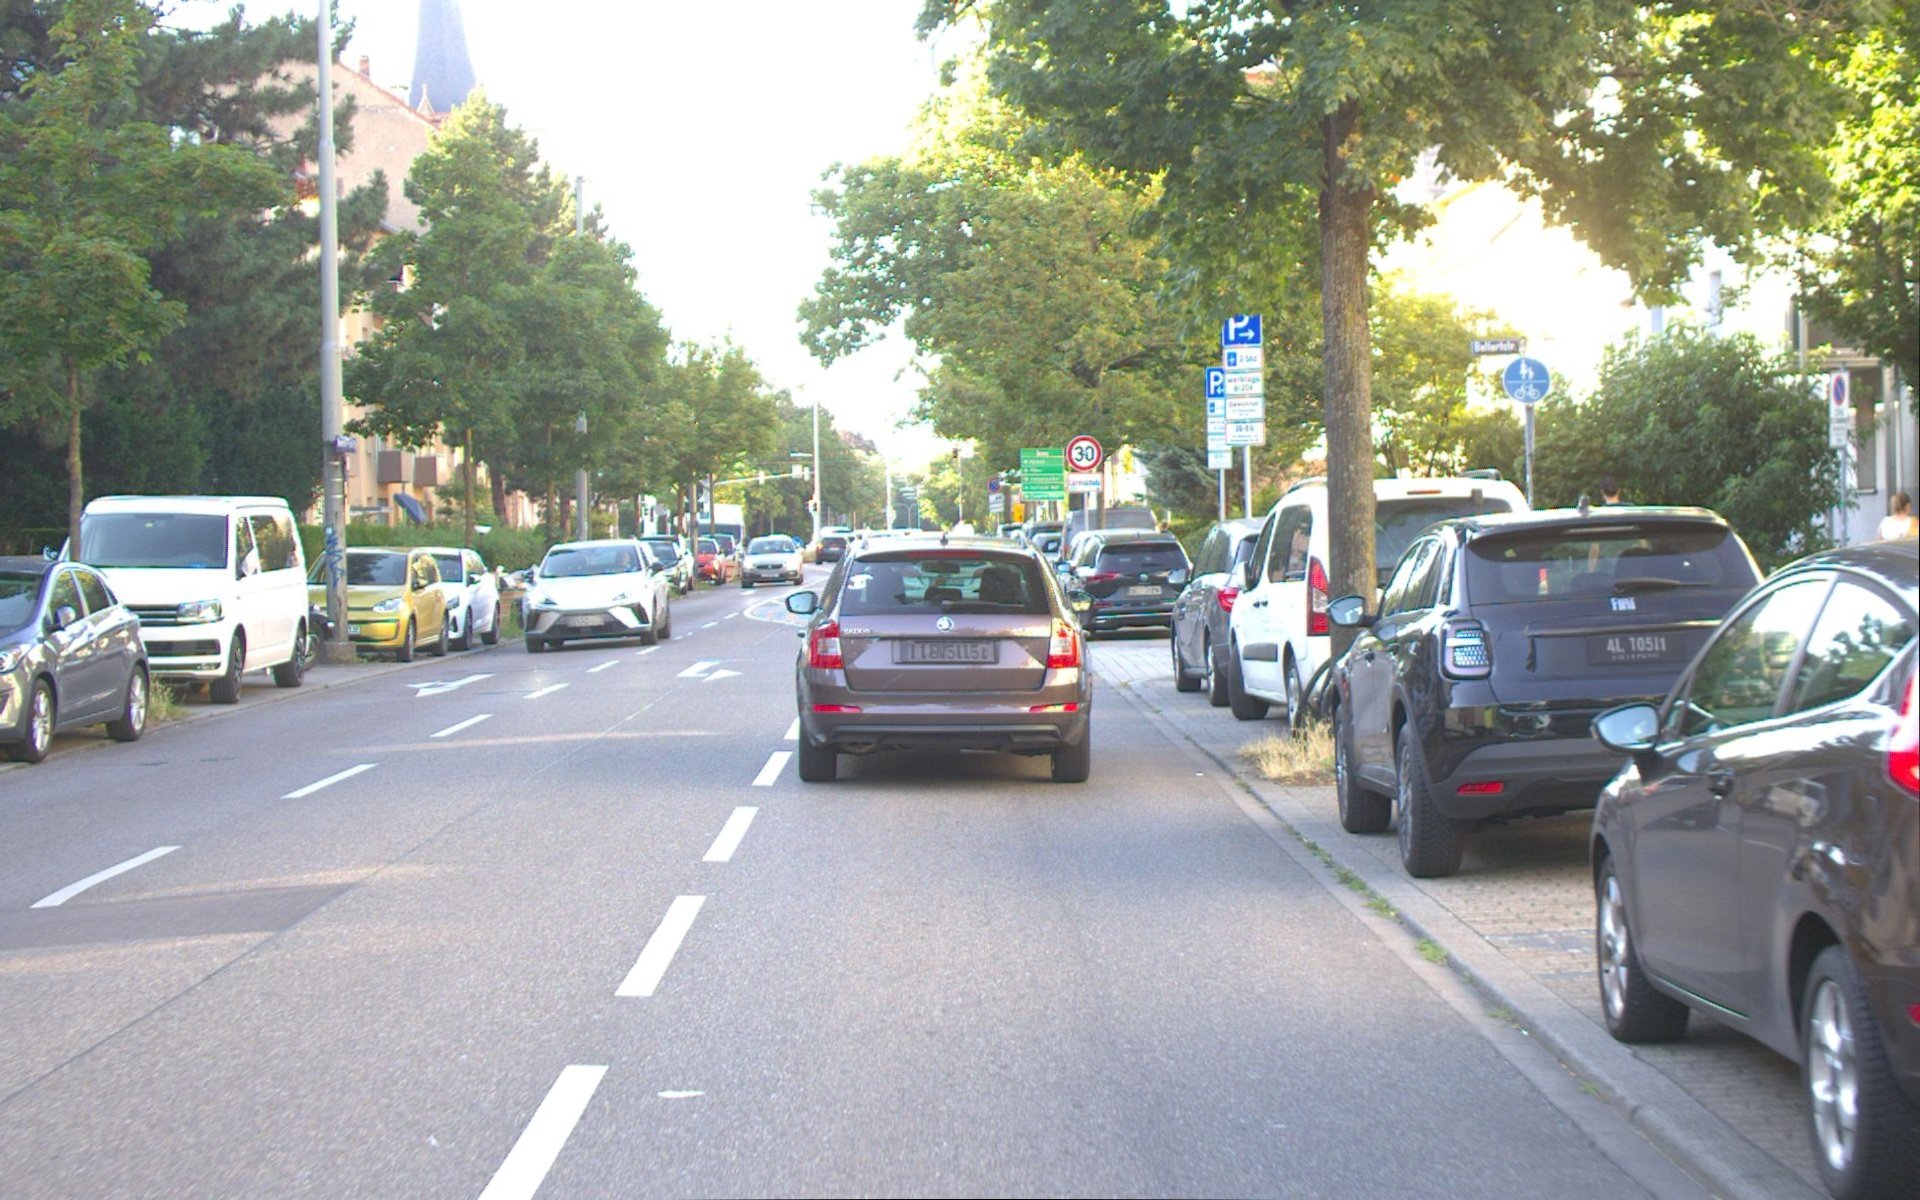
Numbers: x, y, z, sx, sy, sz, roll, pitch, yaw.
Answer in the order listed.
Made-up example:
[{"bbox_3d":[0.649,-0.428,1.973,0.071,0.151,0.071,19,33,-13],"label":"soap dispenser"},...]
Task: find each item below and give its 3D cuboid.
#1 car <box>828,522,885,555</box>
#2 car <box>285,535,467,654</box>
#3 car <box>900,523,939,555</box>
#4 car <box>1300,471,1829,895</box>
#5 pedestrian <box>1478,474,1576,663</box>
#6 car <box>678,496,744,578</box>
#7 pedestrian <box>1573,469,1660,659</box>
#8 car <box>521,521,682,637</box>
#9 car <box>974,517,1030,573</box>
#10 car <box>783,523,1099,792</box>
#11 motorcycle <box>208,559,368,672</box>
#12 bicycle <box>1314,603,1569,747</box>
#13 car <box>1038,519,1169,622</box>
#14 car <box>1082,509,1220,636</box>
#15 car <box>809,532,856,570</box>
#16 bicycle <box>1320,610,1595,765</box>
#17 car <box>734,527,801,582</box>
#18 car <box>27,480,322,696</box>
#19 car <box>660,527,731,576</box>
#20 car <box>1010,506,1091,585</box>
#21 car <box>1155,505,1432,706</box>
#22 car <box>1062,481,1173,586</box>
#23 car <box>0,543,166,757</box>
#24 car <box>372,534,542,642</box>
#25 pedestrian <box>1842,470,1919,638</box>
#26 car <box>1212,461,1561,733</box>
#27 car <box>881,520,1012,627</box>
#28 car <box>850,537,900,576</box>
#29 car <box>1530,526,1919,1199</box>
[{"bbox_3d":[-5.658,-3.353,187.761,1.993,1.744,4.001,-1,1,-18],"label":"car"},{"bbox_3d":[-7.668,-0.109,45.406,1.619,1.475,3.871,1,1,2],"label":"car"},{"bbox_3d":[-2.075,-3.110,174.173,1.644,1.593,3.651,-1,1,-6],"label":"car"},{"bbox_3d":[2.648,0.289,16.001,1.754,1.657,4.252,-2,1,1],"label":"car"},{"bbox_3d":[5.703,-0.320,34.624,0.749,1.854,1.068,-2,1,-1],"label":"pedestrian"},{"bbox_3d":[-8.642,-2.200,119.600,1.991,2.771,5.504,1,1,-1],"label":"car"},{"bbox_3d":[6.551,-0.365,34.314,0.799,1.854,0.950,-1,1,11],"label":"pedestrian"},{"bbox_3d":[-5.040,-0.336,48.781,1.781,1.489,3.971,-3,1,0],"label":"car"},{"bbox_3d":[1.358,-1.812,112.777,1.754,1.799,4.000,1,1,0],"label":"car"},{"bbox_3d":[-0.063,0.278,21.246,1.754,1.487,4.000,1,1,1],"label":"car"},{"bbox_3d":[-7.774,0.162,39.872,0.659,1.200,2.330,-1,2,21],"label":"motorcycle"},{"bbox_3d":[3.082,0.476,22.021,1.552,0.866,0.393,-1,1,-9],"label":"bicycle"},{"bbox_3d":[2.225,-0.487,54.151,1.754,1.551,4.105,1,1,-2],"label":"car"},{"bbox_3d":[2.623,-0.414,47.952,1.754,1.680,4.252,1,1,1],"label":"car"},{"bbox_3d":[-6.084,-2.353,163.850,1.993,1.744,4.001,-1,1,-6],"label":"car"},{"bbox_3d":[2.950,0.514,20.426,1.552,0.866,0.393,-1,1,-3],"label":"bicycle"},{"bbox_3d":[-5.734,-1.389,102.968,1.739,1.474,4.310,-4,1,-1],"label":"car"},{"bbox_3d":[-7.861,-0.176,34.920,1.868,2.024,5.301,0,1,-1],"label":"car"},{"bbox_3d":[-8.209,-1.521,107.044,1.781,1.475,3.971,1,1,2],"label":"car"},{"bbox_3d":[2.026,-1.229,77.008,1.754,1.709,4.000,1,1,1],"label":"car"},{"bbox_3d":[2.819,-0.007,29.940,1.754,1.551,4.253,-2,1,-3],"label":"car"},{"bbox_3d":[2.903,-1.248,64.317,1.916,1.854,5.633,-1,1,1],"label":"car"},{"bbox_3d":[-7.455,0.324,26.213,1.692,1.478,4.143,-1,1,2],"label":"car"},{"bbox_3d":[-7.324,-0.204,50.402,1.781,1.489,3.971,1,1,2],"label":"car"},{"bbox_3d":[9.727,-0.479,35.659,0.742,1.716,0.801,-3,1,-41],"label":"pedestrian"},{"bbox_3d":[3.013,-0.068,25.180,1.800,1.802,4.425,1,1,-3],"label":"car"},{"bbox_3d":[-0.237,-0.404,53.365,1.892,1.501,3.790,3,0,-1],"label":"car"},{"bbox_3d":[-3.283,-1.685,132.279,1.780,1.475,3.972,1,1,-3],"label":"car"},{"bbox_3d":[2.638,0.557,8.781,1.613,1.461,3.959,-2,1,-1],"label":"car"}]
